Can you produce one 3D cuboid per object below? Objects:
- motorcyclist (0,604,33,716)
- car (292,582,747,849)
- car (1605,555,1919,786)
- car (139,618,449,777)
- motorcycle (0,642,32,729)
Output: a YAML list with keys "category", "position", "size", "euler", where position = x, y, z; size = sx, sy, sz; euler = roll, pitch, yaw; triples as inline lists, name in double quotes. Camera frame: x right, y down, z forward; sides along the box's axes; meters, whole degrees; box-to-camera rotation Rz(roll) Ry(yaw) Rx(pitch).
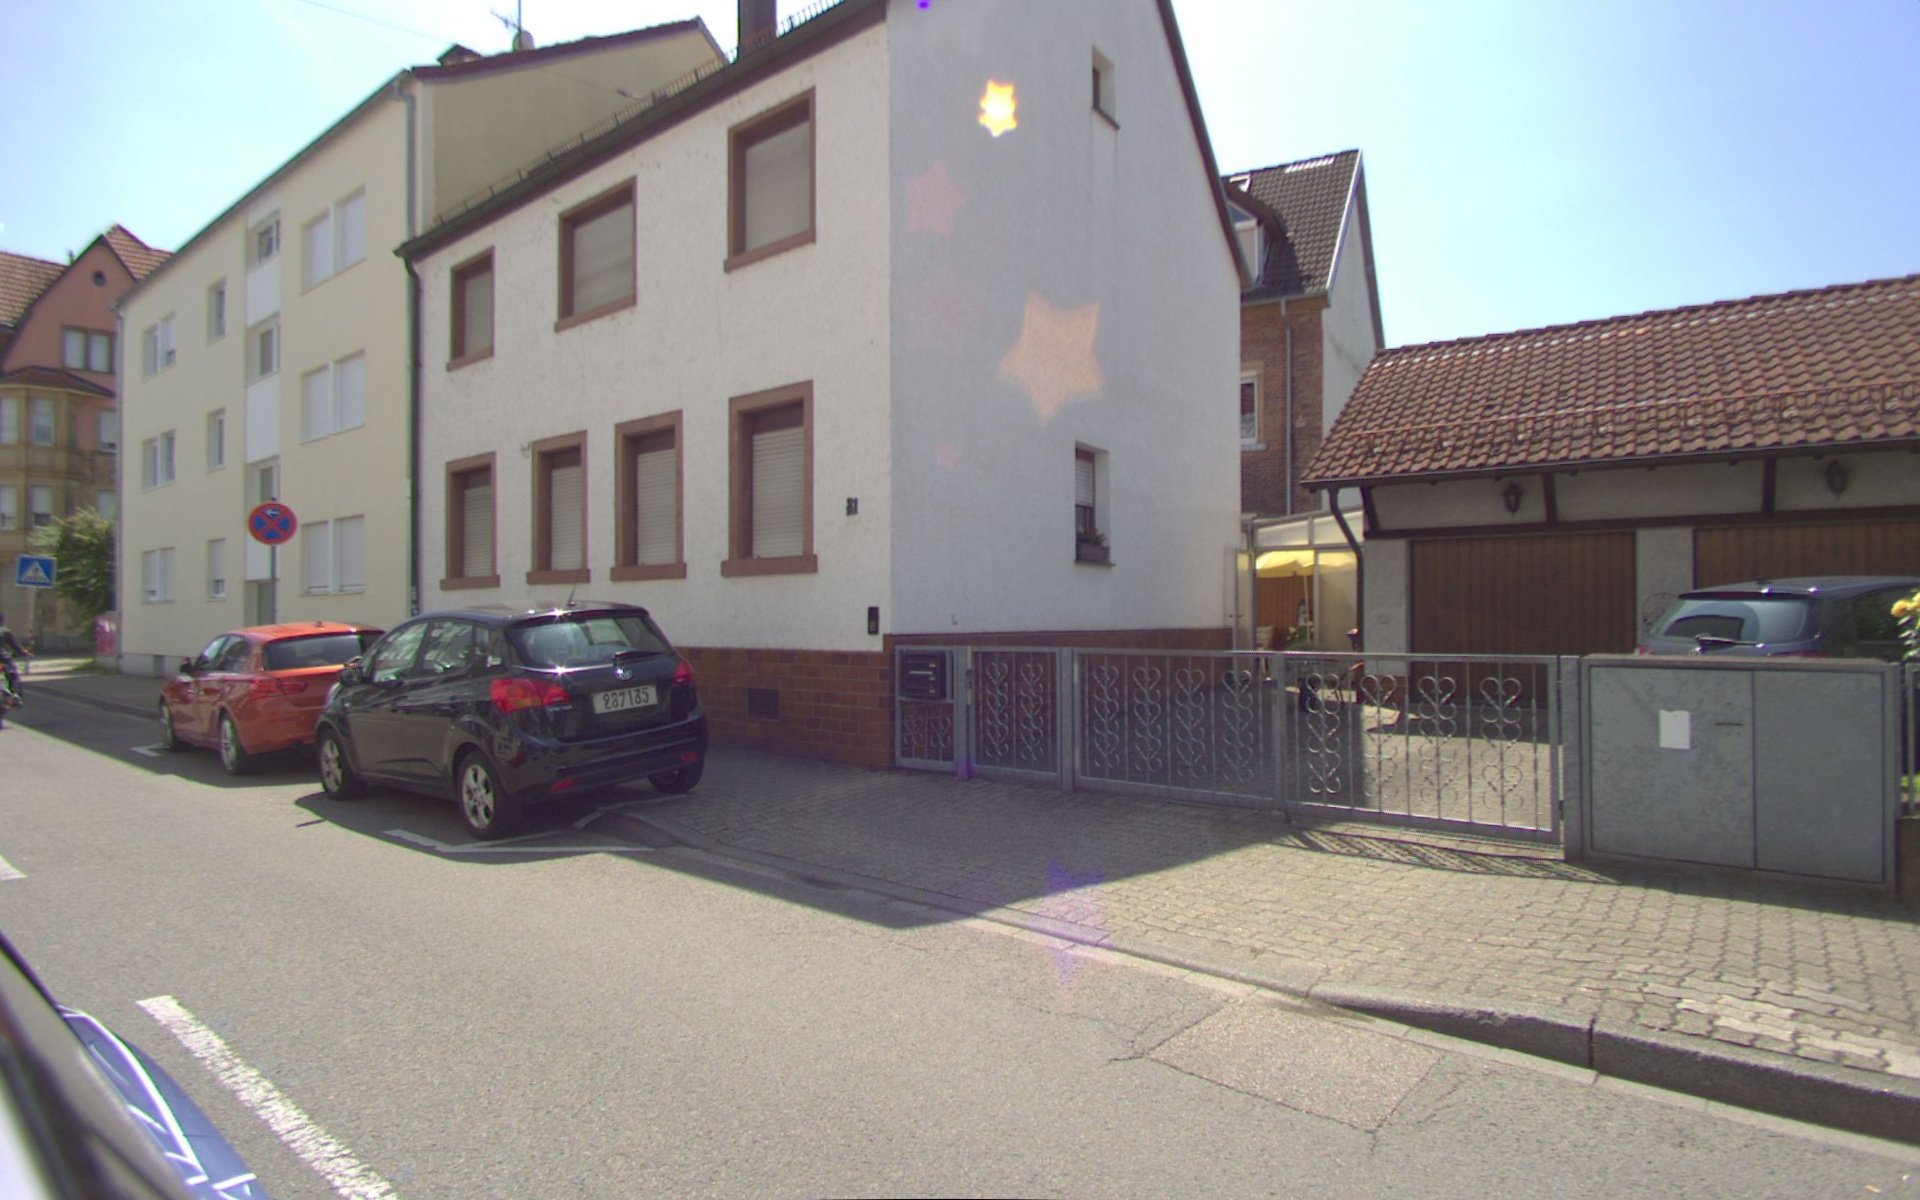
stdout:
- category: "motorcyclist"
  position: [-13.459, 0.820, 13.972]
  size: [1.055, 1.520, 0.814]
  euler: [-1, -1, 39]
- category: "car"
  position: [-3.720, 0.736, 8.264]
  size: [3.940, 1.659, 1.777]
  euler: [-1, 0, 39]
- category: "car"
  position: [7.322, 0.433, 7.972]
  size: [3.508, 1.551, 1.641]
  euler: [-2, 1, -8]
- category: "car"
  position: [-7.595, 0.935, 11.369]
  size: [4.287, 1.427, 1.815]
  euler: [-1, -1, 41]
- category: "motorcycle"
  position: [-13.525, 1.161, 14.029]
  size: [2.026, 1.131, 0.681]
  euler: [-1, -1, 39]
